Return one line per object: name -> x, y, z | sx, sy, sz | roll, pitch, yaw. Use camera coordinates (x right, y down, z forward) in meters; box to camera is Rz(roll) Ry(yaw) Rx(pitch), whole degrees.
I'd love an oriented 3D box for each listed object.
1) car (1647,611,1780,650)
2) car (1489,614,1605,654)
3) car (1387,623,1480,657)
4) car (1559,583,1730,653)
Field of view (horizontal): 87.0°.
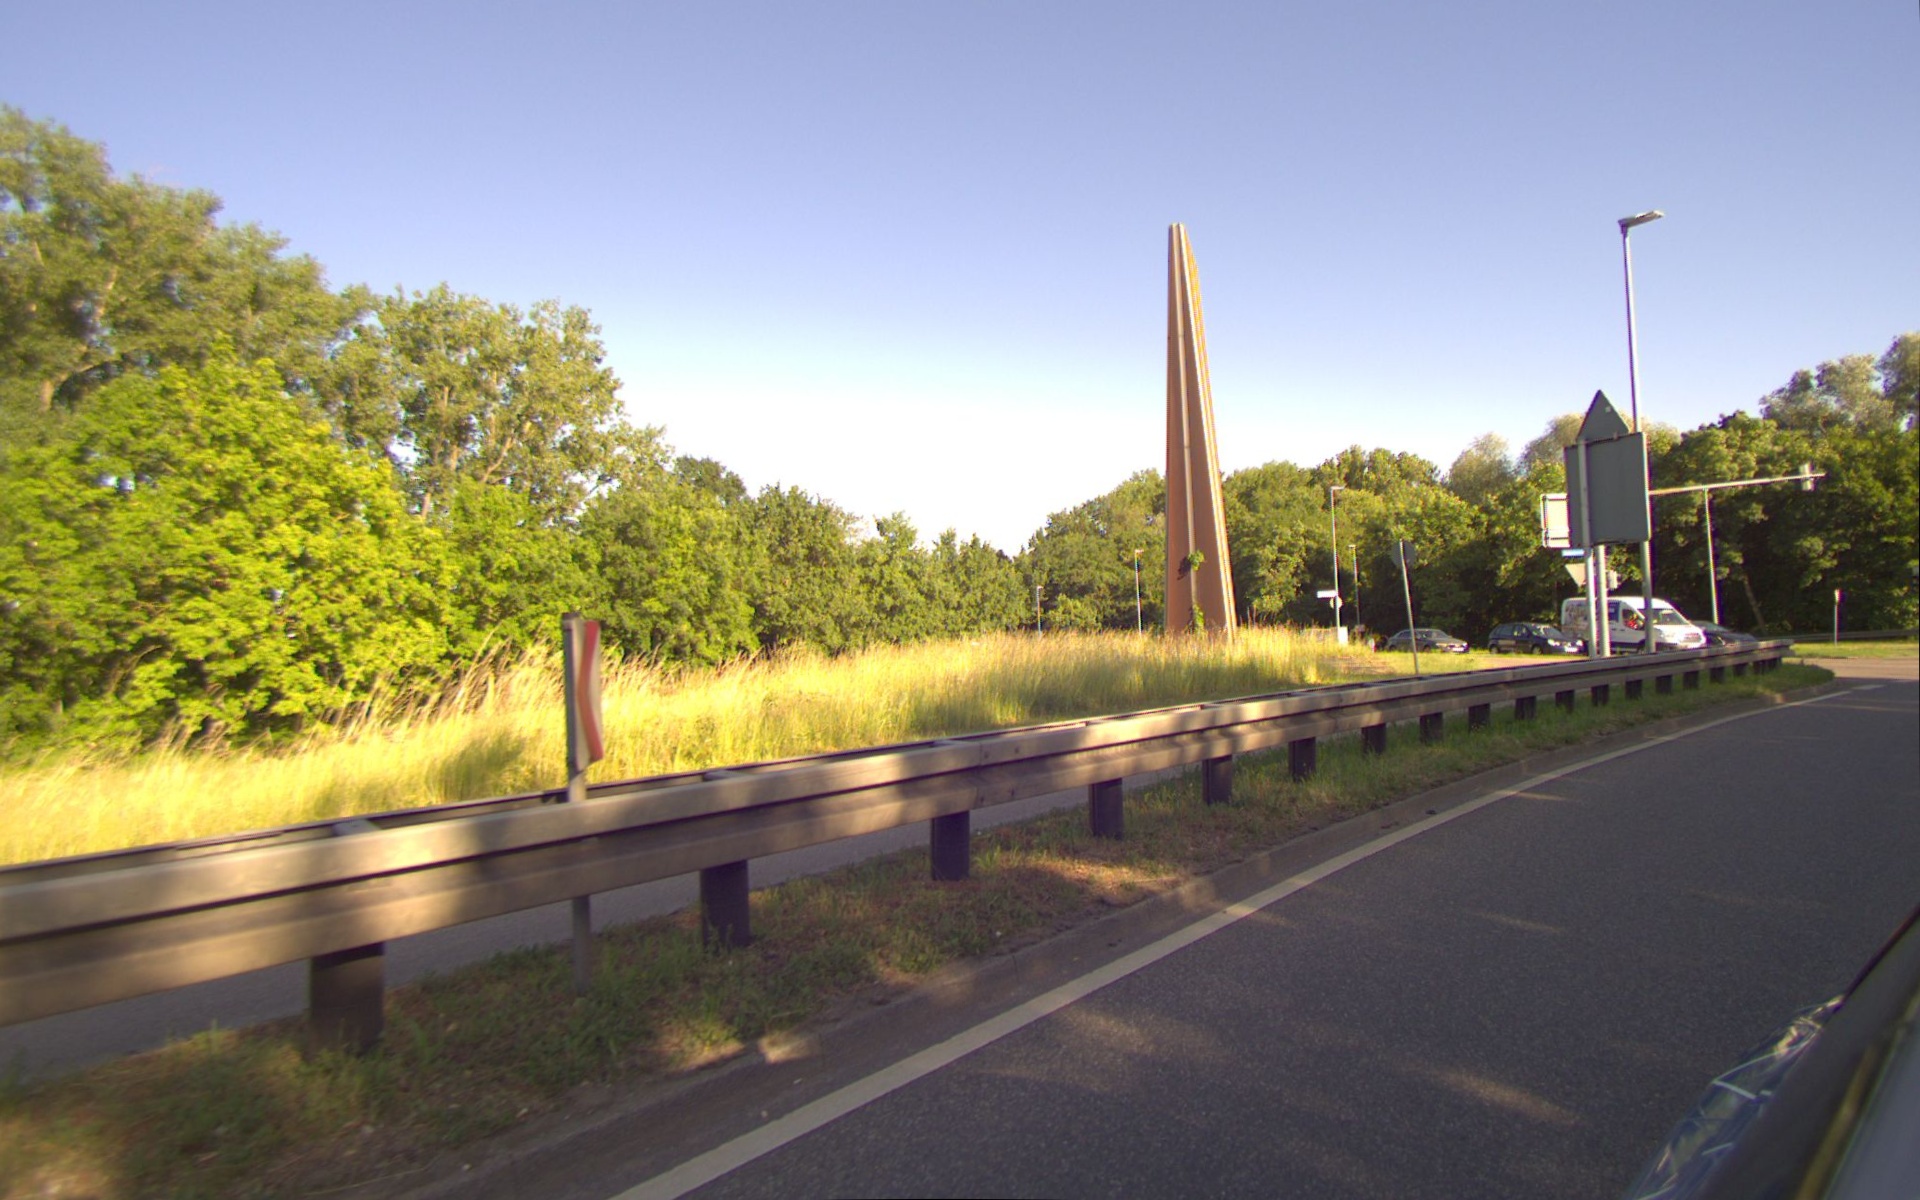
car -> 29.836, 1.173, 40.210 | 1.733, 1.458, 4.095 | -1, -1, -11
car -> 22.916, 1.291, 39.686 | 1.807, 1.432, 3.993 | -1, -1, -8
car -> 21.540, 1.801, 46.239 | 1.614, 1.408, 4.297 | -1, -1, -11
car -> 26.494, 0.761, 39.519 | 2.071, 2.532, 5.712 | -1, -2, -9
